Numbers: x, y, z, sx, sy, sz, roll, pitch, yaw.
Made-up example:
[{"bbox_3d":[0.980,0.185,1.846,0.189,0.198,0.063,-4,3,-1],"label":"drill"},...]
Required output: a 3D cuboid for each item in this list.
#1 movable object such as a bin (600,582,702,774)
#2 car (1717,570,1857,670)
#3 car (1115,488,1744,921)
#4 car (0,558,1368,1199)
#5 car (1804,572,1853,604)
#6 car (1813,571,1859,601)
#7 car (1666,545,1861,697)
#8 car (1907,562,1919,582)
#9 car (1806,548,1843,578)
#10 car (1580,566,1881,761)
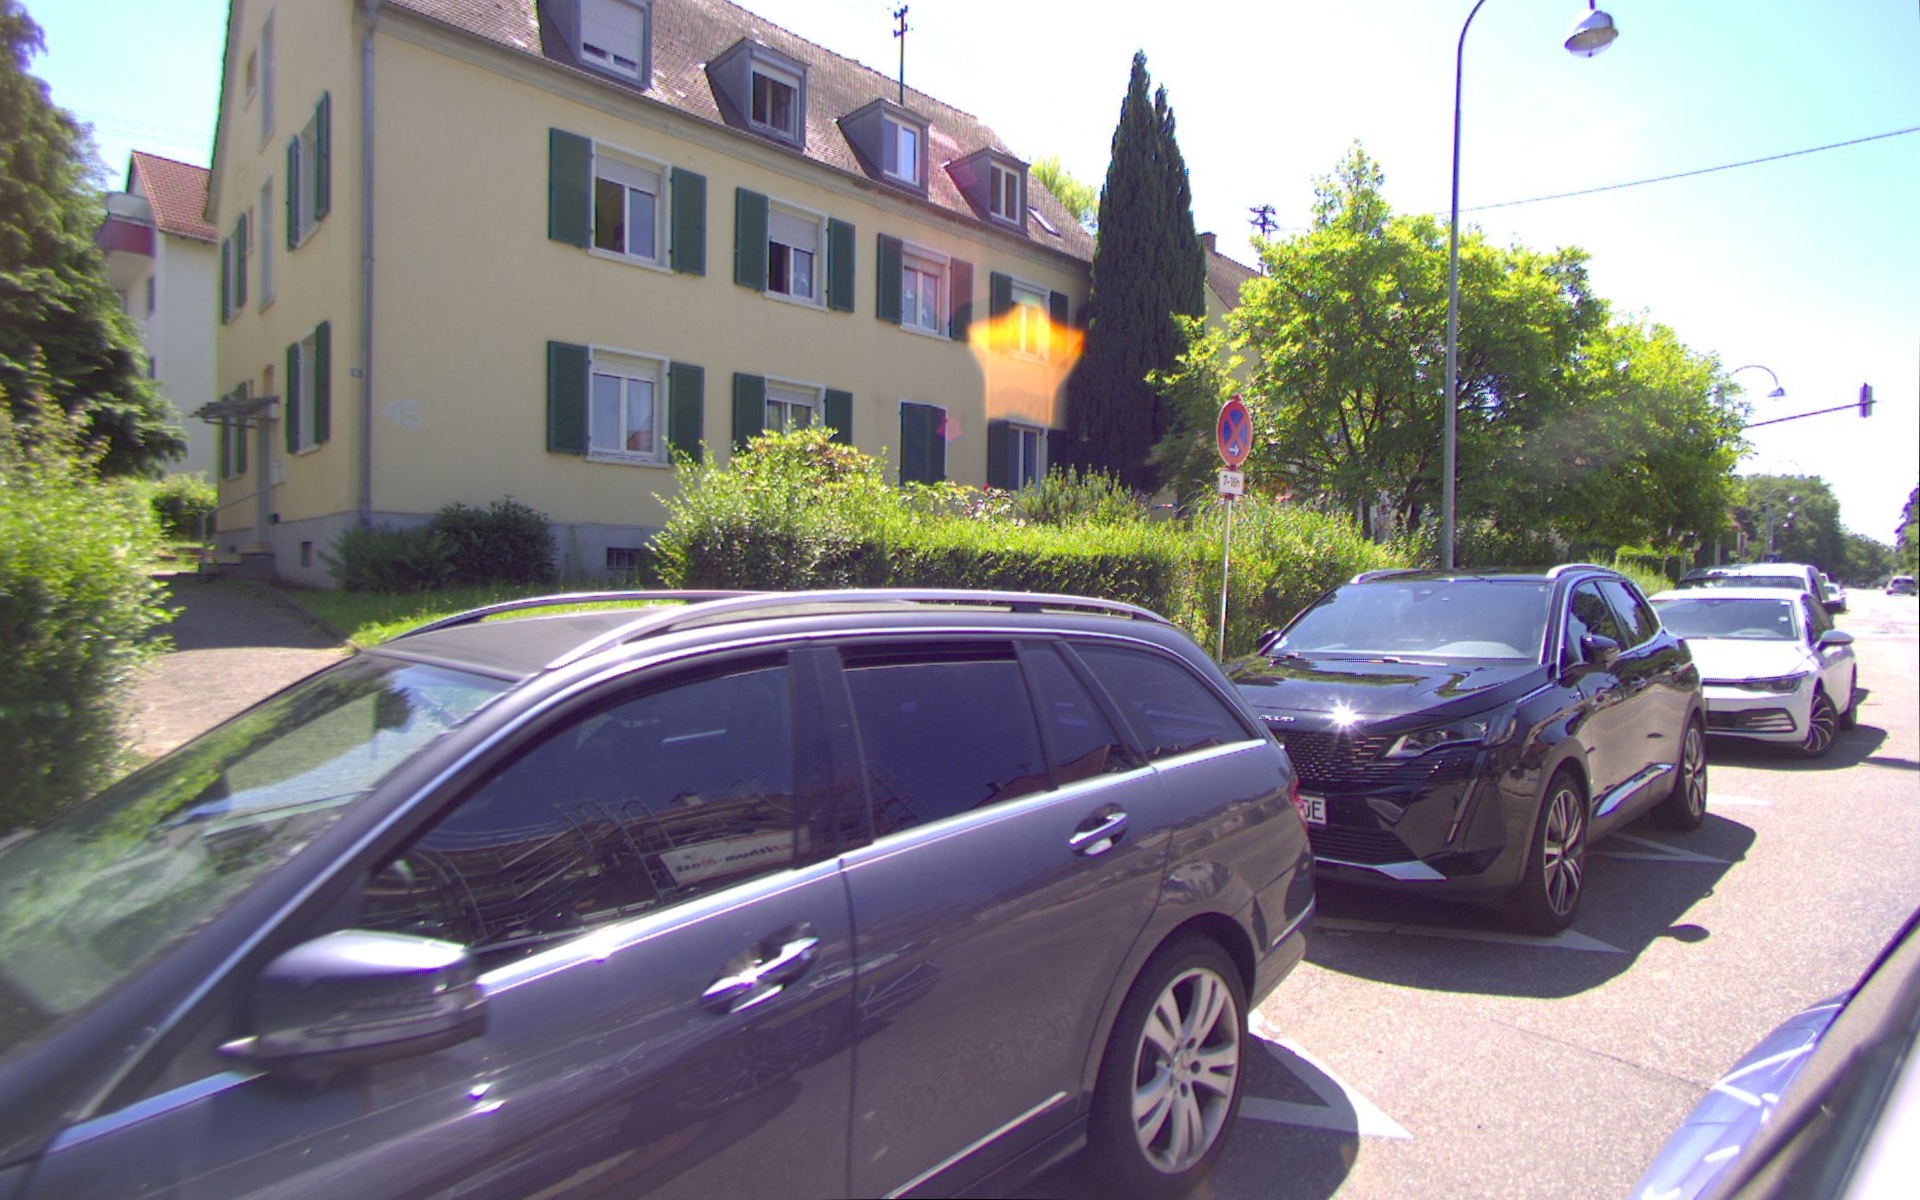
[{"bbox_3d":[-2.064,0.492,6.751,0.481,1.185,0.426,6,5,40],"label":"movable object such as a bin"},{"bbox_3d":[14.518,0.297,17.684,1.627,1.481,3.956,-3,0,43],"label":"car"},{"bbox_3d":[2.854,0.301,5.645,4.132,1.557,1.664,-3,1,-42],"label":"car"},{"bbox_3d":[-0.851,0.672,2.209,4.134,1.449,1.663,-3,2,-43],"label":"car"},{"bbox_3d":[42.945,-0.625,50.106,1.663,1.484,3.945,0,2,39],"label":"car"},{"bbox_3d":[46.480,-0.775,53.743,1.663,1.453,3.944,-2,0,39],"label":"car"},{"bbox_3d":[11.412,0.200,14.269,1.662,1.826,4.136,-3,0,45],"label":"car"},{"bbox_3d":[79.980,-2.304,84.125,1.652,1.581,3.827,3,4,42],"label":"car"},{"bbox_3d":[61.259,-2.610,71.778,1.844,1.891,4.627,-1,3,39],"label":"car"},{"bbox_3d":[7.651,0.470,9.902,4.061,1.453,1.663,-3,0,-43],"label":"car"}]
